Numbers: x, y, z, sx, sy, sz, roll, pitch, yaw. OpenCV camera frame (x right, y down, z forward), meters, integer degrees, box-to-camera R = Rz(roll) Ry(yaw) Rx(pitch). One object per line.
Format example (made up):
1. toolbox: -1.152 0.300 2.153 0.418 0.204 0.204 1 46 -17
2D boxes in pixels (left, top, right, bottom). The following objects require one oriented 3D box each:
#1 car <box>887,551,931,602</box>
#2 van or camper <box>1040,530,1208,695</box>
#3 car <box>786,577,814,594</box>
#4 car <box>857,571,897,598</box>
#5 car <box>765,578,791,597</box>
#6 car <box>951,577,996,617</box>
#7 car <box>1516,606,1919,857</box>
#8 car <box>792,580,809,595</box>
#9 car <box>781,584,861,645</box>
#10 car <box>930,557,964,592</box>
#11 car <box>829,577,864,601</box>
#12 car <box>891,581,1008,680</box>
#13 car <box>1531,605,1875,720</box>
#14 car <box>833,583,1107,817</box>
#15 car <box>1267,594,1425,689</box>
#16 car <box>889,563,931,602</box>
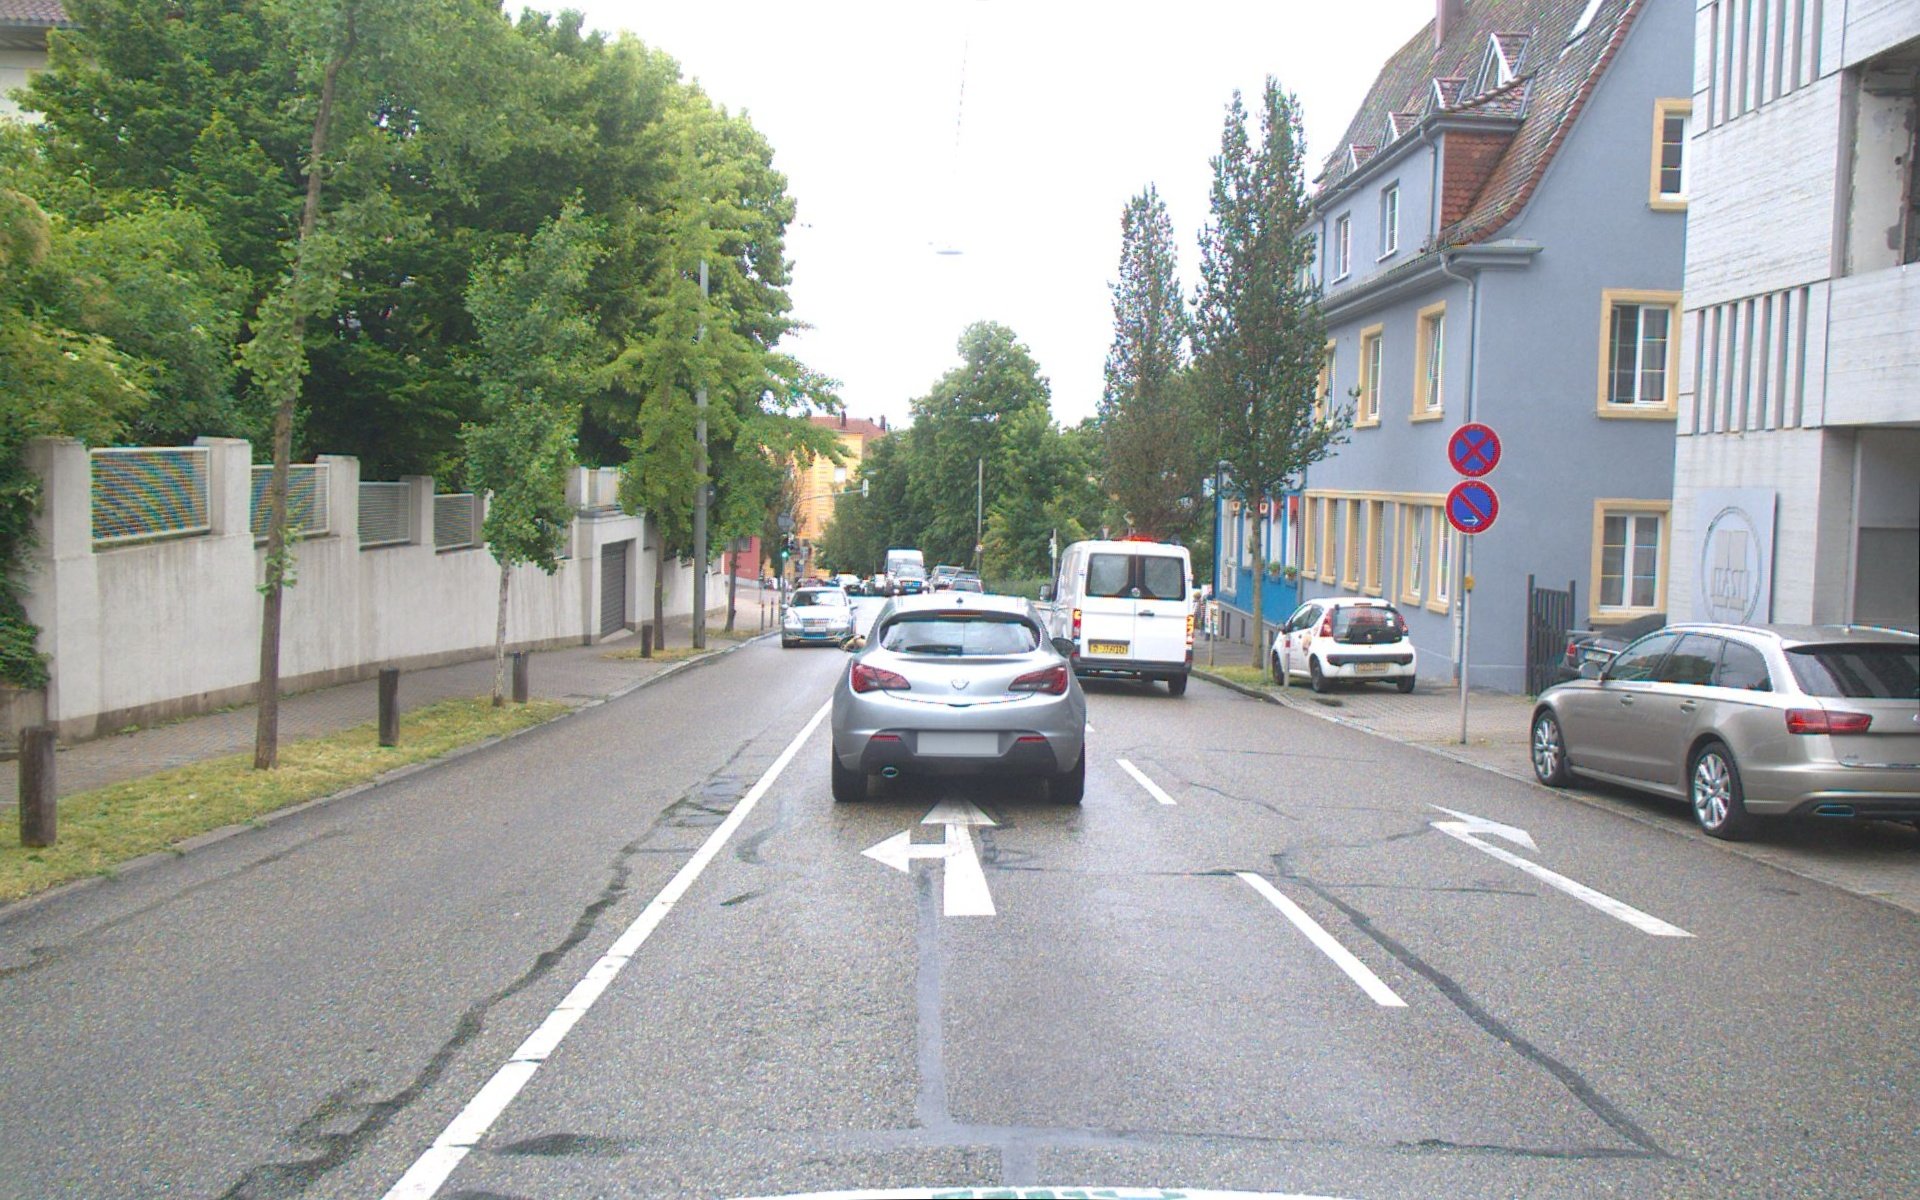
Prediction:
1. car: -2.745 -1.237 87.875 2.076 2.590 5.535 1 0 -4
2. van or camper: 2.594 0.169 27.509 2.061 2.366 5.416 3 0 -1
3. car: -15.879 -1.451 163.606 1.788 1.493 3.977 -4 1 -20
4. car: -5.154 -0.949 102.187 1.841 1.602 4.574 1 0 -11
5. car: -15.678 -1.074 142.008 1.743 1.523 4.250 3 0 -12
6. car: 0.508 -0.113 65.004 1.588 1.512 3.434 1 0 -2
7. car: 6.057 0.836 12.664 1.778 1.485 4.739 1 1 -3
8. car: -16.719 -1.327 173.722 1.742 1.454 3.782 2 1 -5
9. car: -3.401 0.323 41.179 1.684 1.409 4.284 1 1 -1
10. car: -0.780 -1.489 97.017 1.747 1.887 3.996 2 -1 -4
11. car: -8.091 -0.791 117.374 1.842 1.602 4.573 1 0 -12
12. car: -0.180 0.433 26.581 1.740 1.455 3.785 0 1 -1
13. car: 10.163 0.827 22.632 4.290 1.432 1.798 1 0 -21
14. car: 0.040 0.647 13.016 1.778 1.454 4.000 2 1 -1
15. car: 6.277 0.635 27.257 1.555 1.436 3.453 0 1 -5
16. car: -2.401 -0.853 78.370 1.785 1.680 4.344 2 1 -3
